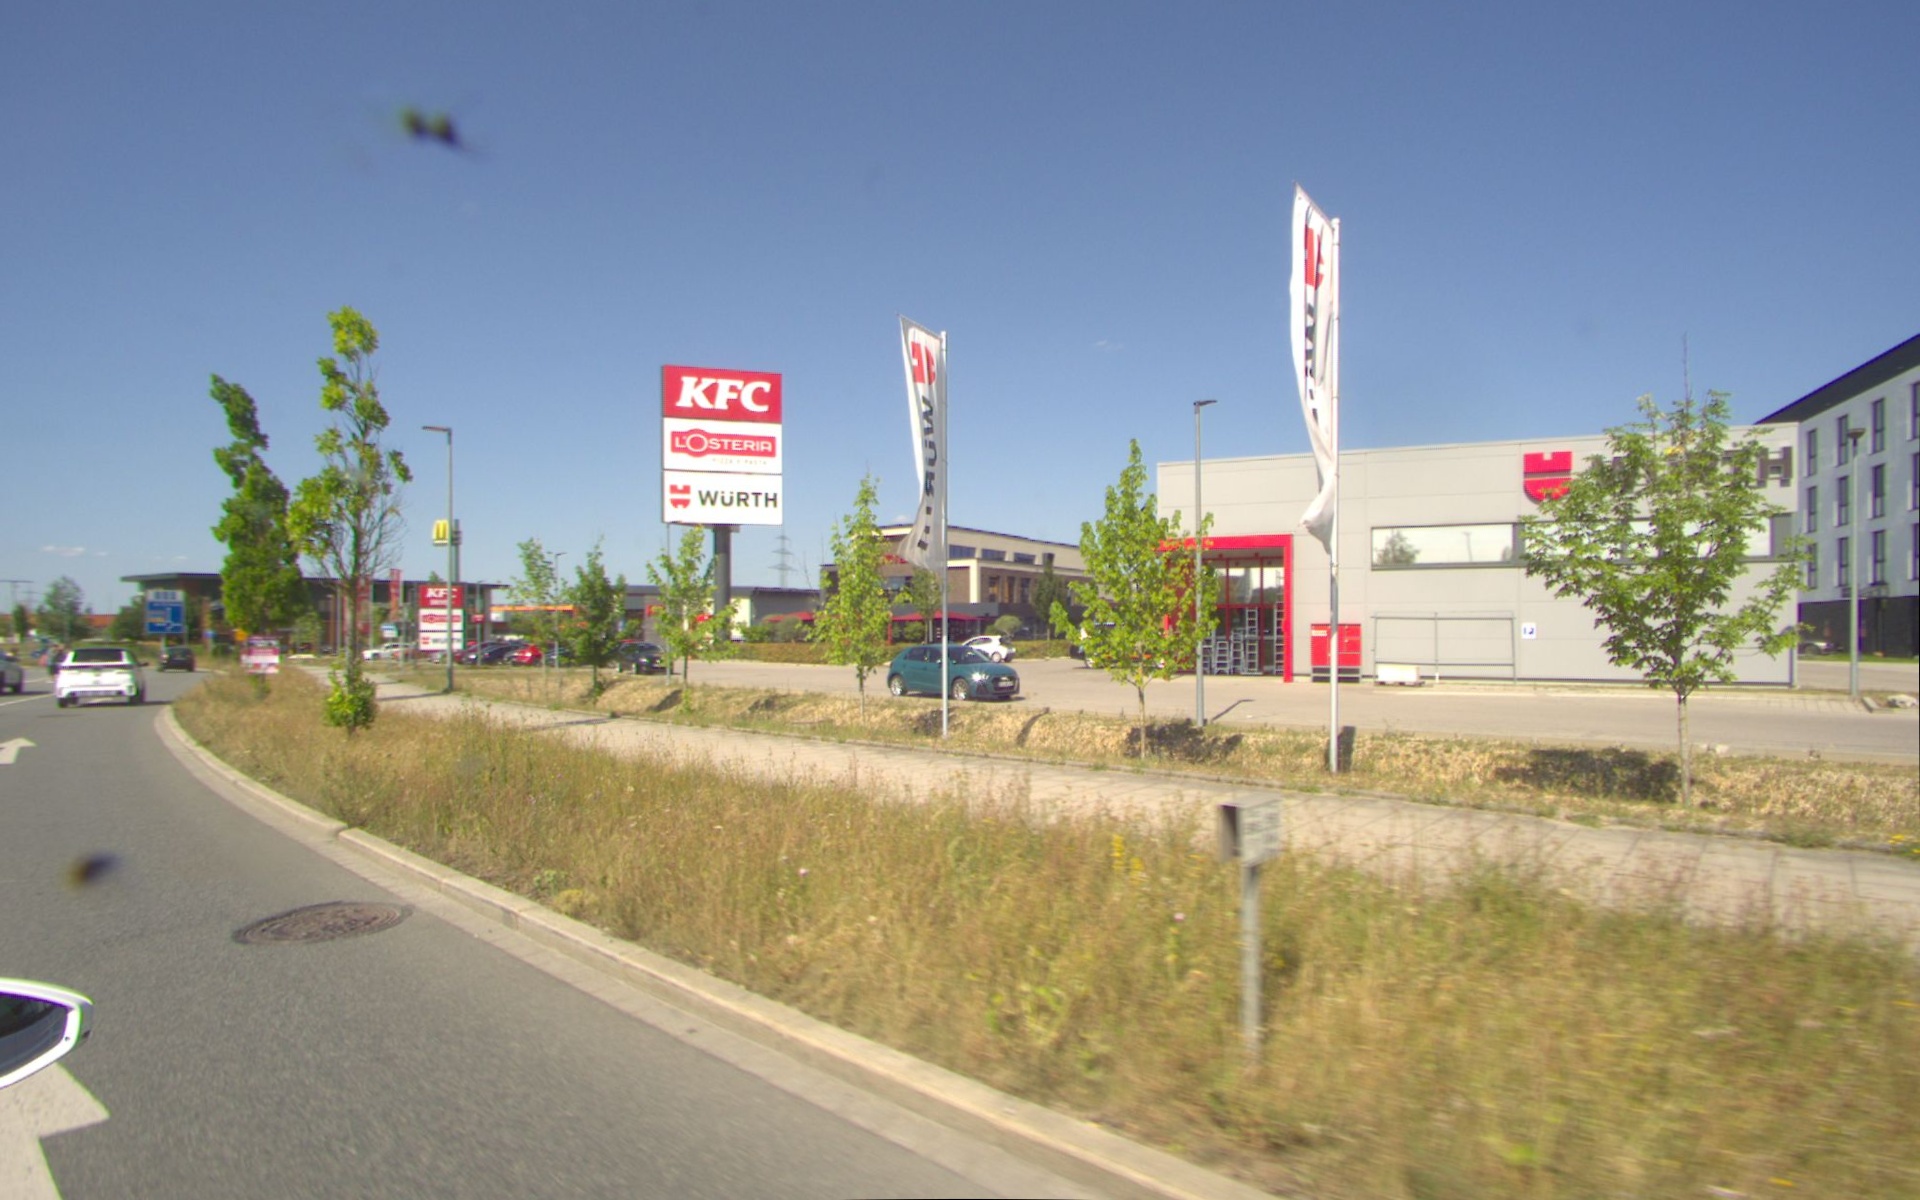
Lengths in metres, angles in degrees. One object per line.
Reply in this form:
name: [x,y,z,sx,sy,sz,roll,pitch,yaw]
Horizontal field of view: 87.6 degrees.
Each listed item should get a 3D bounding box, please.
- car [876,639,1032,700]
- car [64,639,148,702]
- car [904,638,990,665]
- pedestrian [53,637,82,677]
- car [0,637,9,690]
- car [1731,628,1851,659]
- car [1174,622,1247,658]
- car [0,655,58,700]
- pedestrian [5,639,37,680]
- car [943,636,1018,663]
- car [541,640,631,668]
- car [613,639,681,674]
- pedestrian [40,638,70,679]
car: [-0.239,1.786,26.452,1.827,1.468,4.189,1,-3,-42]
car: [-22.018,1.766,25.905,1.462,1.509,2.979,1,-2,-37]
car: [-0.672,2.670,52.348,4.084,1.354,1.827,-1,-2,22]
pedestrian: [-38.407,2.433,43.104,0.654,1.686,0.711,0,-1,-9]
car: [-30.645,1.956,30.943,1.724,1.571,4.528,0,-2,-43]
car: [43.399,2.263,52.409,1.853,1.527,4.502,1,-2,-31]
car: [14.740,2.366,58.856,3.931,2.040,1.996,-1,-1,20]
car: [-36.749,3.004,39.024,1.717,1.571,3.762,0,-1,-32]
pedestrian: [-39.071,2.456,41.667,0.654,1.686,0.711,0,-1,-9]
car: [1.163,2.781,56.838,3.853,1.493,1.797,-1,-2,27]
car: [-21.482,3.082,57.668,4.485,1.477,1.983,1,-2,-41]
car: [-14.407,2.554,45.943,1.854,1.484,4.338,1,-2,-34]
pedestrian: [-38.266,2.465,42.358,0.654,1.686,0.711,0,-1,-9]
